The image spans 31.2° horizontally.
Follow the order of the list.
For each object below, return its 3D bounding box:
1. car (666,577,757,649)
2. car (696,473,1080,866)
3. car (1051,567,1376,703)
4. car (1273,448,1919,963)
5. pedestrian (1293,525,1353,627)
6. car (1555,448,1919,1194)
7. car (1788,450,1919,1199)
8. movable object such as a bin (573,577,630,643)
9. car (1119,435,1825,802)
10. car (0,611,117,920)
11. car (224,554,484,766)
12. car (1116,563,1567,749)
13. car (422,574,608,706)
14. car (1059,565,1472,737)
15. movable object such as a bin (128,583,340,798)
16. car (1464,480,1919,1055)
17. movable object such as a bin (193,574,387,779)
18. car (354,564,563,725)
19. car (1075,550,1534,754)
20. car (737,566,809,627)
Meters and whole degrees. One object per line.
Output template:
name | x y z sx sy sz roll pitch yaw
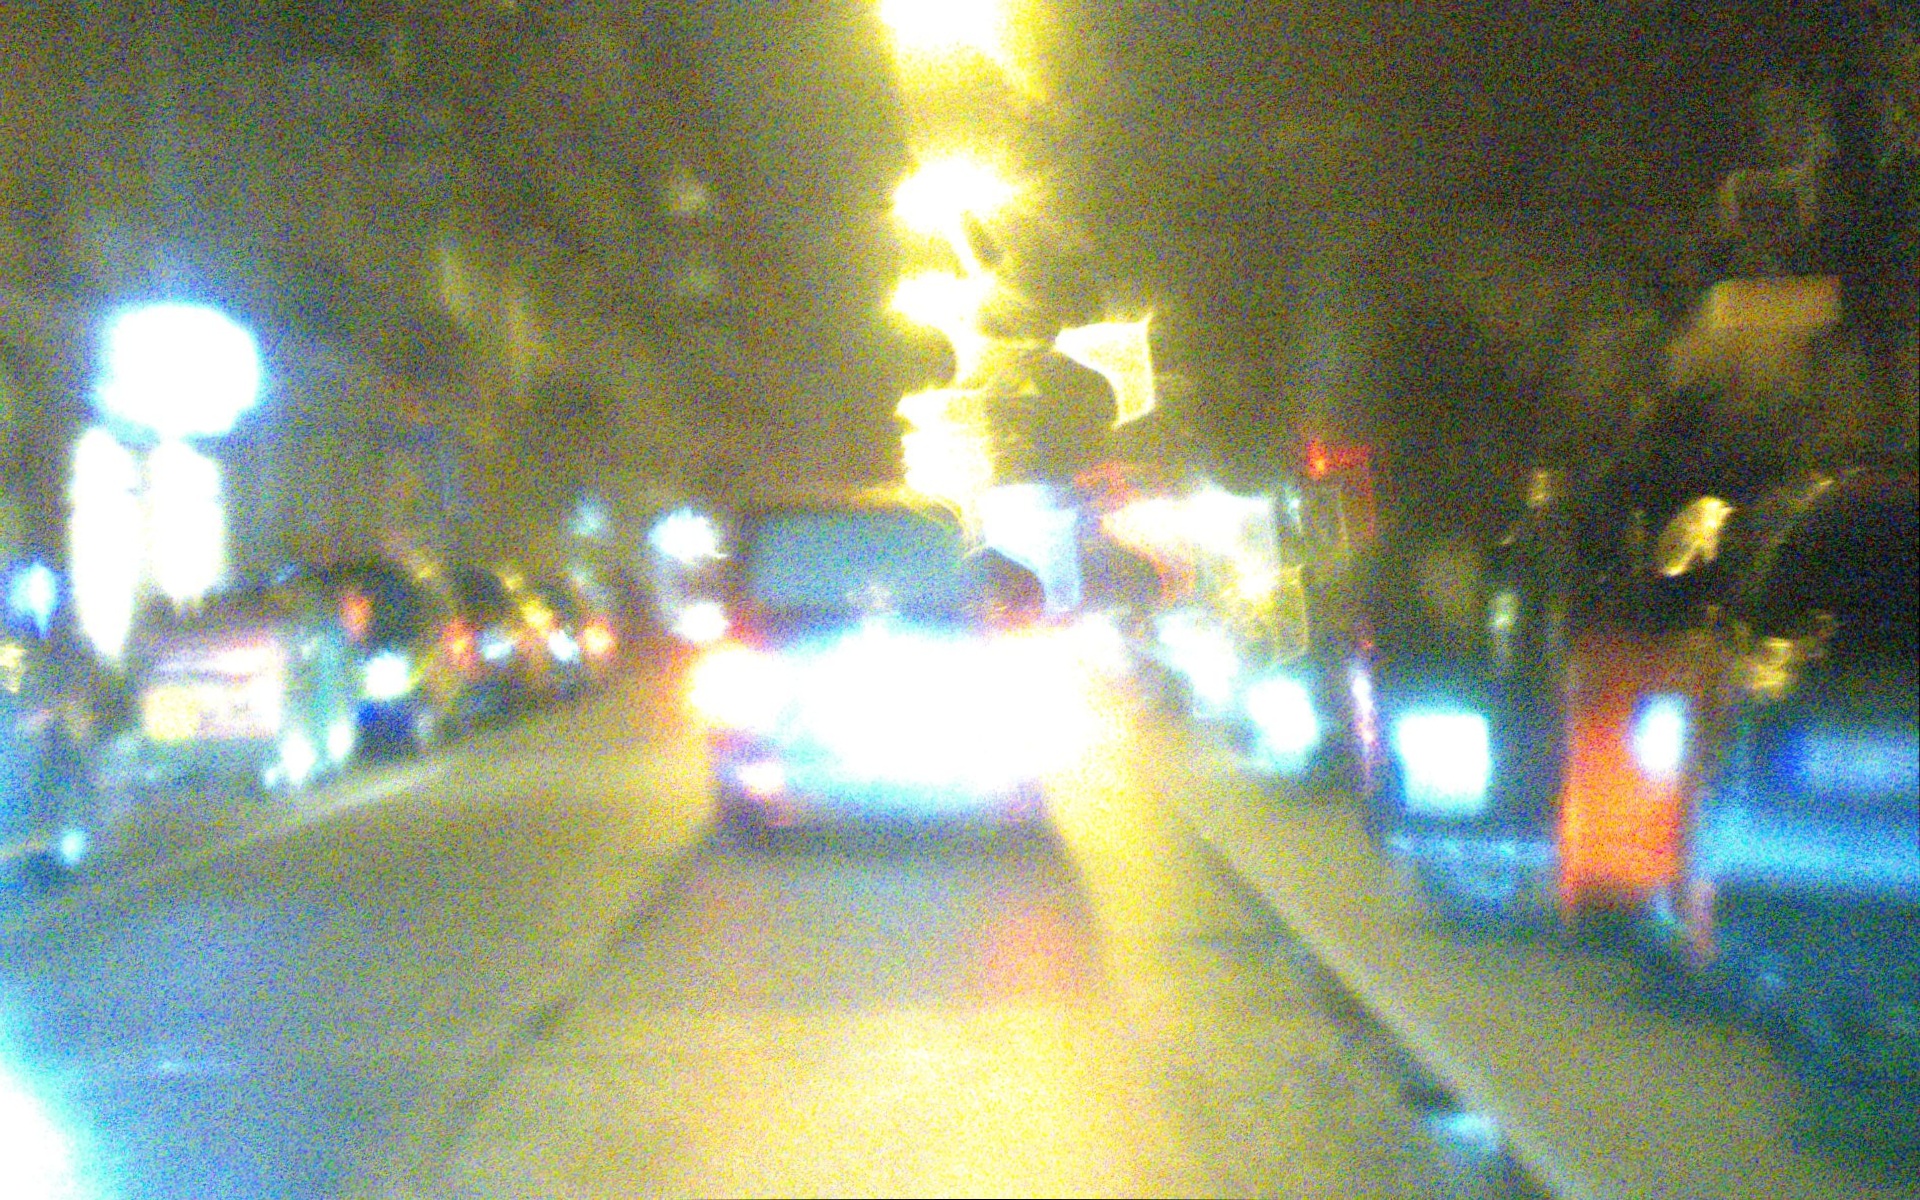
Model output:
car | -5.333 0.270 74.118 1.587 1.477 3.793 -1 1 1
car | -0.385 0.376 20.254 1.993 2.043 4.000 -1 0 0
car | 3.150 0.425 42.604 3.672 1.455 1.604 -3 0 -28
car | 3.572 0.330 14.715 4.235 1.852 1.716 -4 0 -35
pedestrian | 6.821 -0.455 64.594 0.868 1.849 0.993 -4 1 -2
car | 3.592 0.476 9.245 3.791 1.722 1.741 -1 1 -35
car | 3.779 0.499 6.739 4.049 1.605 1.844 -1 1 -31
movable object such as a bin | -7.651 0.202 73.466 1.048 1.394 1.158 0 0 3
car | 3.595 0.074 23.721 4.711 2.240 1.946 -3 0 -36
car | -5.135 0.772 15.455 1.654 1.354 4.222 -1 1 0
car | -5.192 0.473 29.856 1.603 1.700 3.721 -1 0 0
car | 3.708 0.518 33.166 3.988 1.547 1.999 -3 0 -38
car | -5.275 0.438 41.195 1.686 1.450 4.316 0 1 0
car | 3.203 0.512 35.751 3.988 1.547 1.804 -3 0 -35
movable object such as a bin | -5.011 0.609 23.799 1.208 1.454 1.107 0 0 2
car | 3.774 0.469 12.048 3.763 1.722 1.717 -1 1 -33
movable object such as a bin | -4.854 0.539 24.999 1.165 1.454 1.107 0 0 2
car | -5.164 0.417 35.803 1.603 1.547 4.025 0 1 0
car | 2.985 0.427 29.657 3.641 1.536 1.560 -3 0 -30
car | -4.909 -0.108 89.790 1.812 1.552 4.077 -1 1 -4
